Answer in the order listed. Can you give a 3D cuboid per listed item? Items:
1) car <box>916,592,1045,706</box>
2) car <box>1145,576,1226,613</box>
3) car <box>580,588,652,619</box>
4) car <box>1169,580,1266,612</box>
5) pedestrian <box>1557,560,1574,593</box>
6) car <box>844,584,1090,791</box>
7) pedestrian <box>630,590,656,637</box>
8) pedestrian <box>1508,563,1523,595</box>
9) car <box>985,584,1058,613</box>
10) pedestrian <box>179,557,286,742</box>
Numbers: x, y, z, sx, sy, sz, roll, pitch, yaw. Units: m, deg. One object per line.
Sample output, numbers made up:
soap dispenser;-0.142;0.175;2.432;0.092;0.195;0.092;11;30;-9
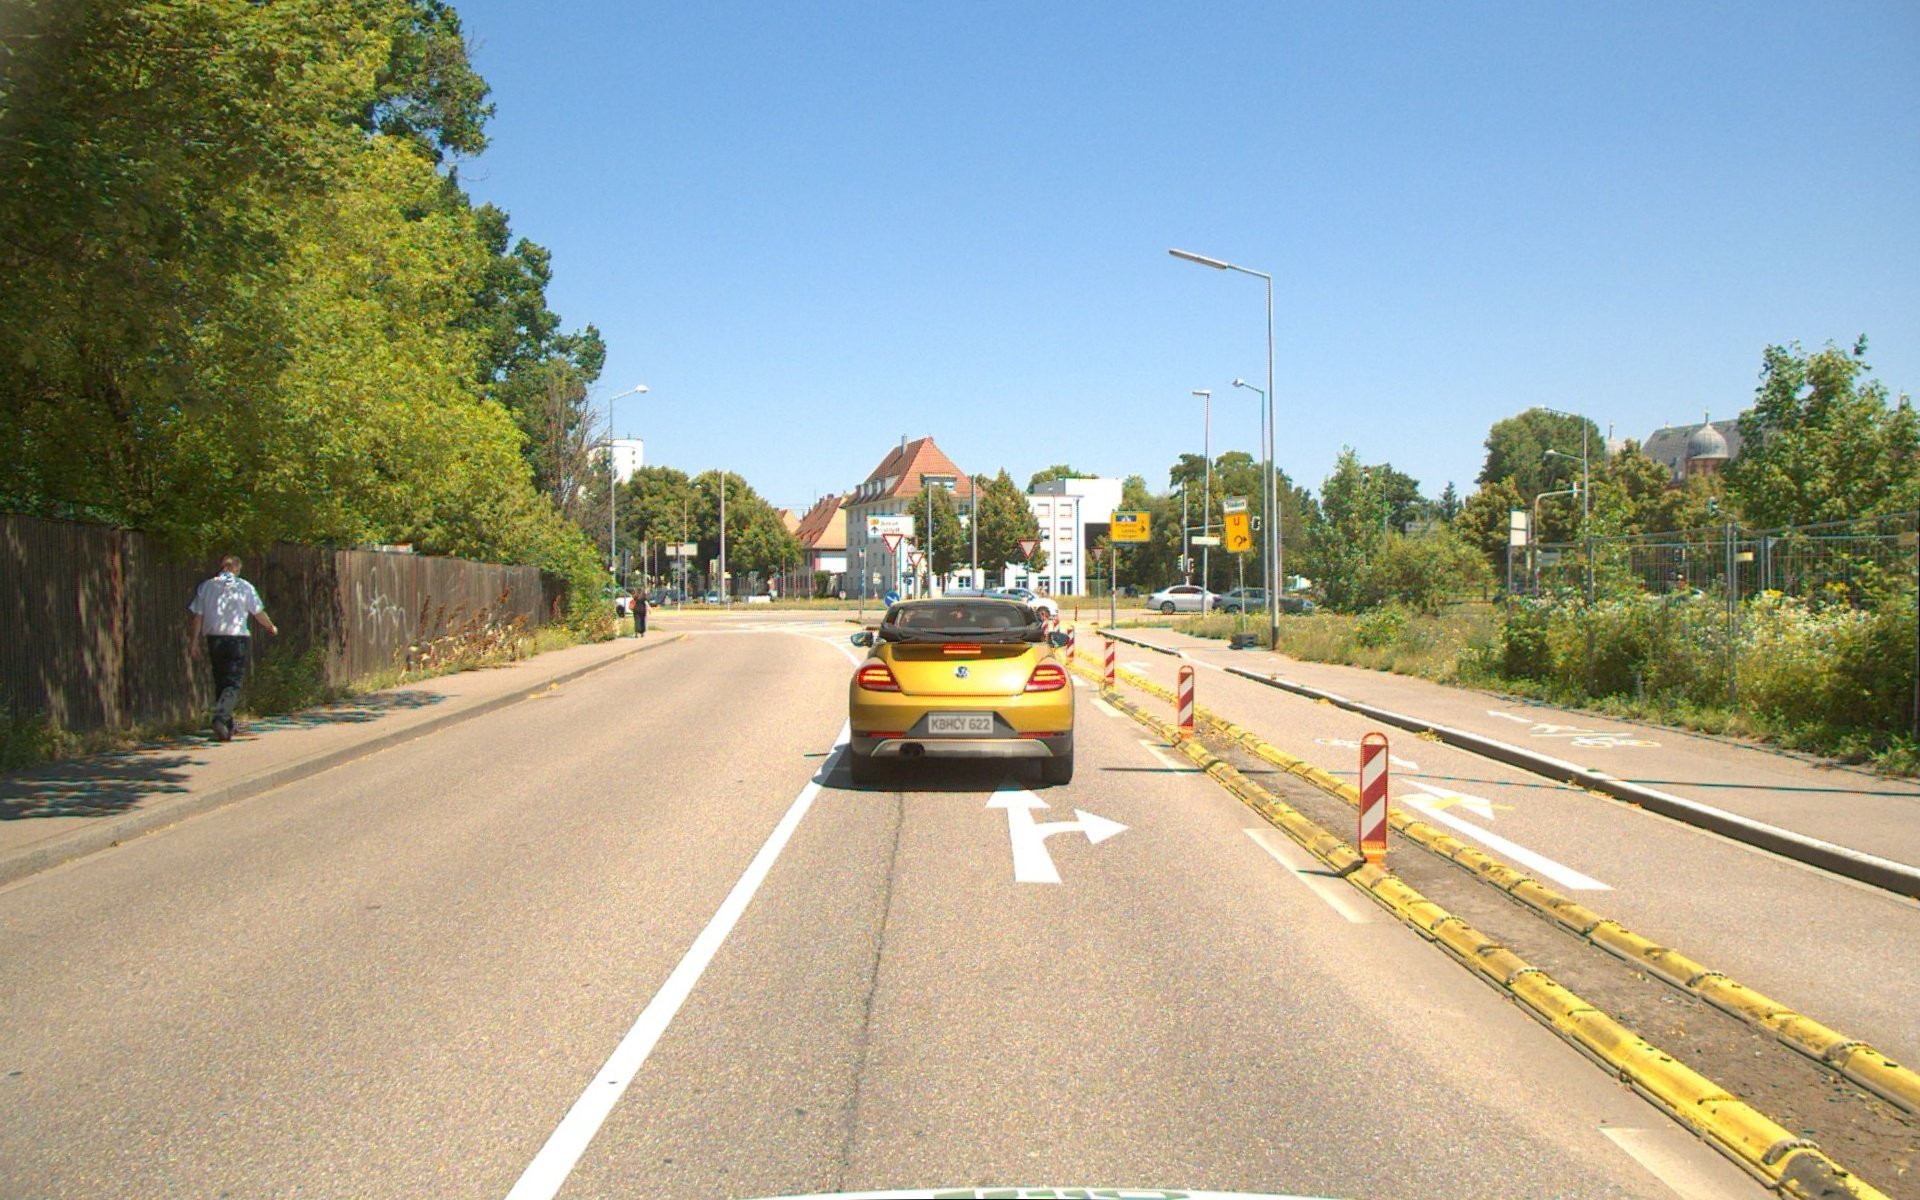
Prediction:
car;0.220;0.644;23.860;1.692;1.468;3.999;-1;0;-1
car;11.398;-0.269;83.503;3.986;1.774;1.568;-1;0;8
car;-18.612;0.177;89.378;3.627;1.598;1.679;-1;0;30
car;11.775;-0.204;75.567;4.345;1.381;1.539;-1;0;10
pedestrian;24.782;-0.965;67.694;0.535;1.334;0.603;-1;0;31
car;-0.008;0.613;13.824;1.754;1.462;3.812;-1;0;-2
pedestrian;-10.257;0.437;53.495;0.708;1.479;0.817;-1;0;-4
pedestrian;23.151;-0.884;68.913;0.590;1.334;0.547;-1;0;20
car;2.865;-0.074;76.902;3.365;1.298;1.203;-1;0;3
pedestrian;-7.140;0.470;16.270;0.708;1.755;0.817;-1;0;-4
